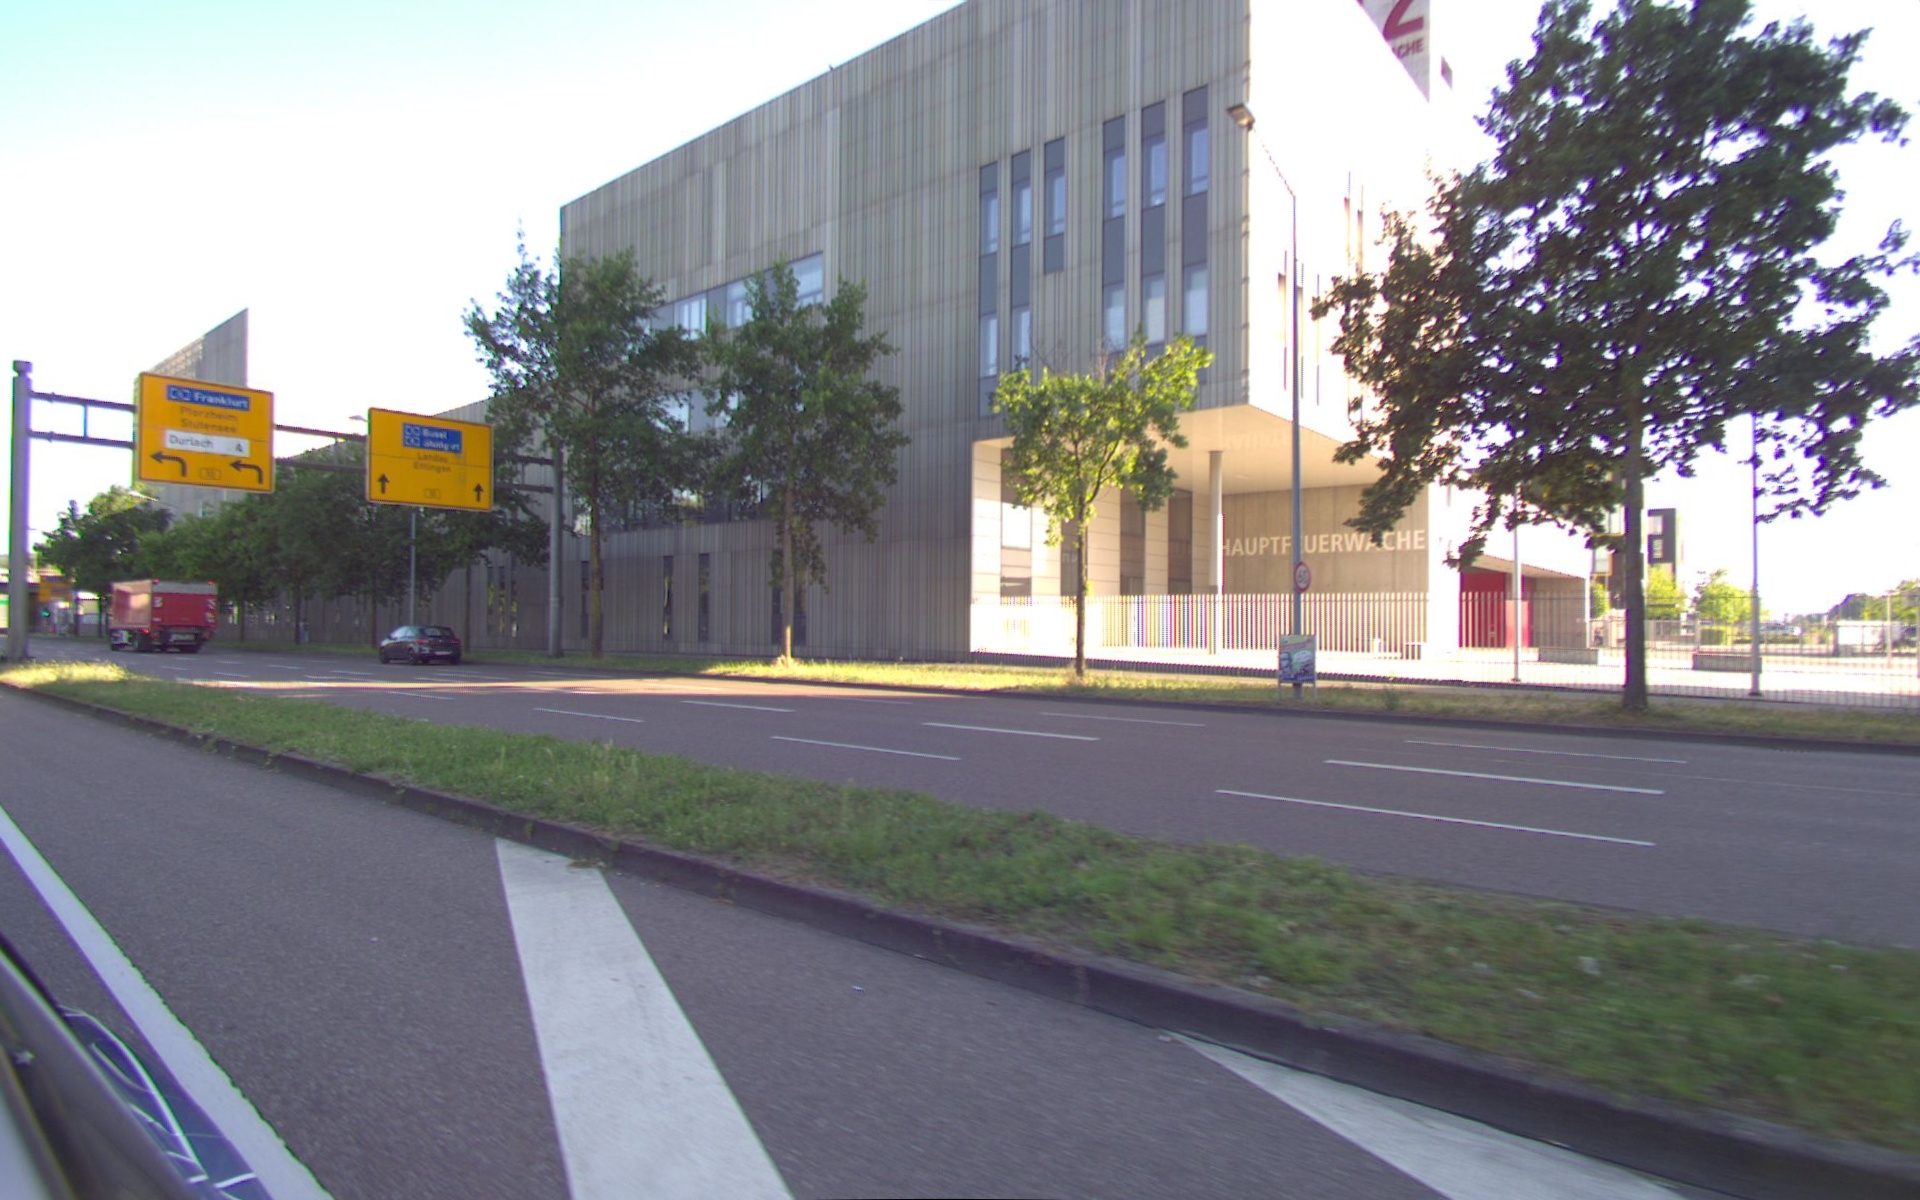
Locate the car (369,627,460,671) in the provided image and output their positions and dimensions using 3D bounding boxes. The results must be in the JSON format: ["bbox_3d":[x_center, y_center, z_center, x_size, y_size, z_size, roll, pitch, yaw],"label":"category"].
[{"bbox_3d":[-20.131,1.774,37.303,3.862,1.524,1.580,-1,-2,39],"label":"car"}]

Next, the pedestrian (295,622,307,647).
[{"bbox_3d":[-46.376,2.421,71.215,0.648,1.781,0.596,-1,-2,41],"label":"pedestrian"}]

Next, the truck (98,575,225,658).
[{"bbox_3d":[-40.180,0.864,50.784,10.080,3.840,2.968,-1,-2,40],"label":"truck"}]
